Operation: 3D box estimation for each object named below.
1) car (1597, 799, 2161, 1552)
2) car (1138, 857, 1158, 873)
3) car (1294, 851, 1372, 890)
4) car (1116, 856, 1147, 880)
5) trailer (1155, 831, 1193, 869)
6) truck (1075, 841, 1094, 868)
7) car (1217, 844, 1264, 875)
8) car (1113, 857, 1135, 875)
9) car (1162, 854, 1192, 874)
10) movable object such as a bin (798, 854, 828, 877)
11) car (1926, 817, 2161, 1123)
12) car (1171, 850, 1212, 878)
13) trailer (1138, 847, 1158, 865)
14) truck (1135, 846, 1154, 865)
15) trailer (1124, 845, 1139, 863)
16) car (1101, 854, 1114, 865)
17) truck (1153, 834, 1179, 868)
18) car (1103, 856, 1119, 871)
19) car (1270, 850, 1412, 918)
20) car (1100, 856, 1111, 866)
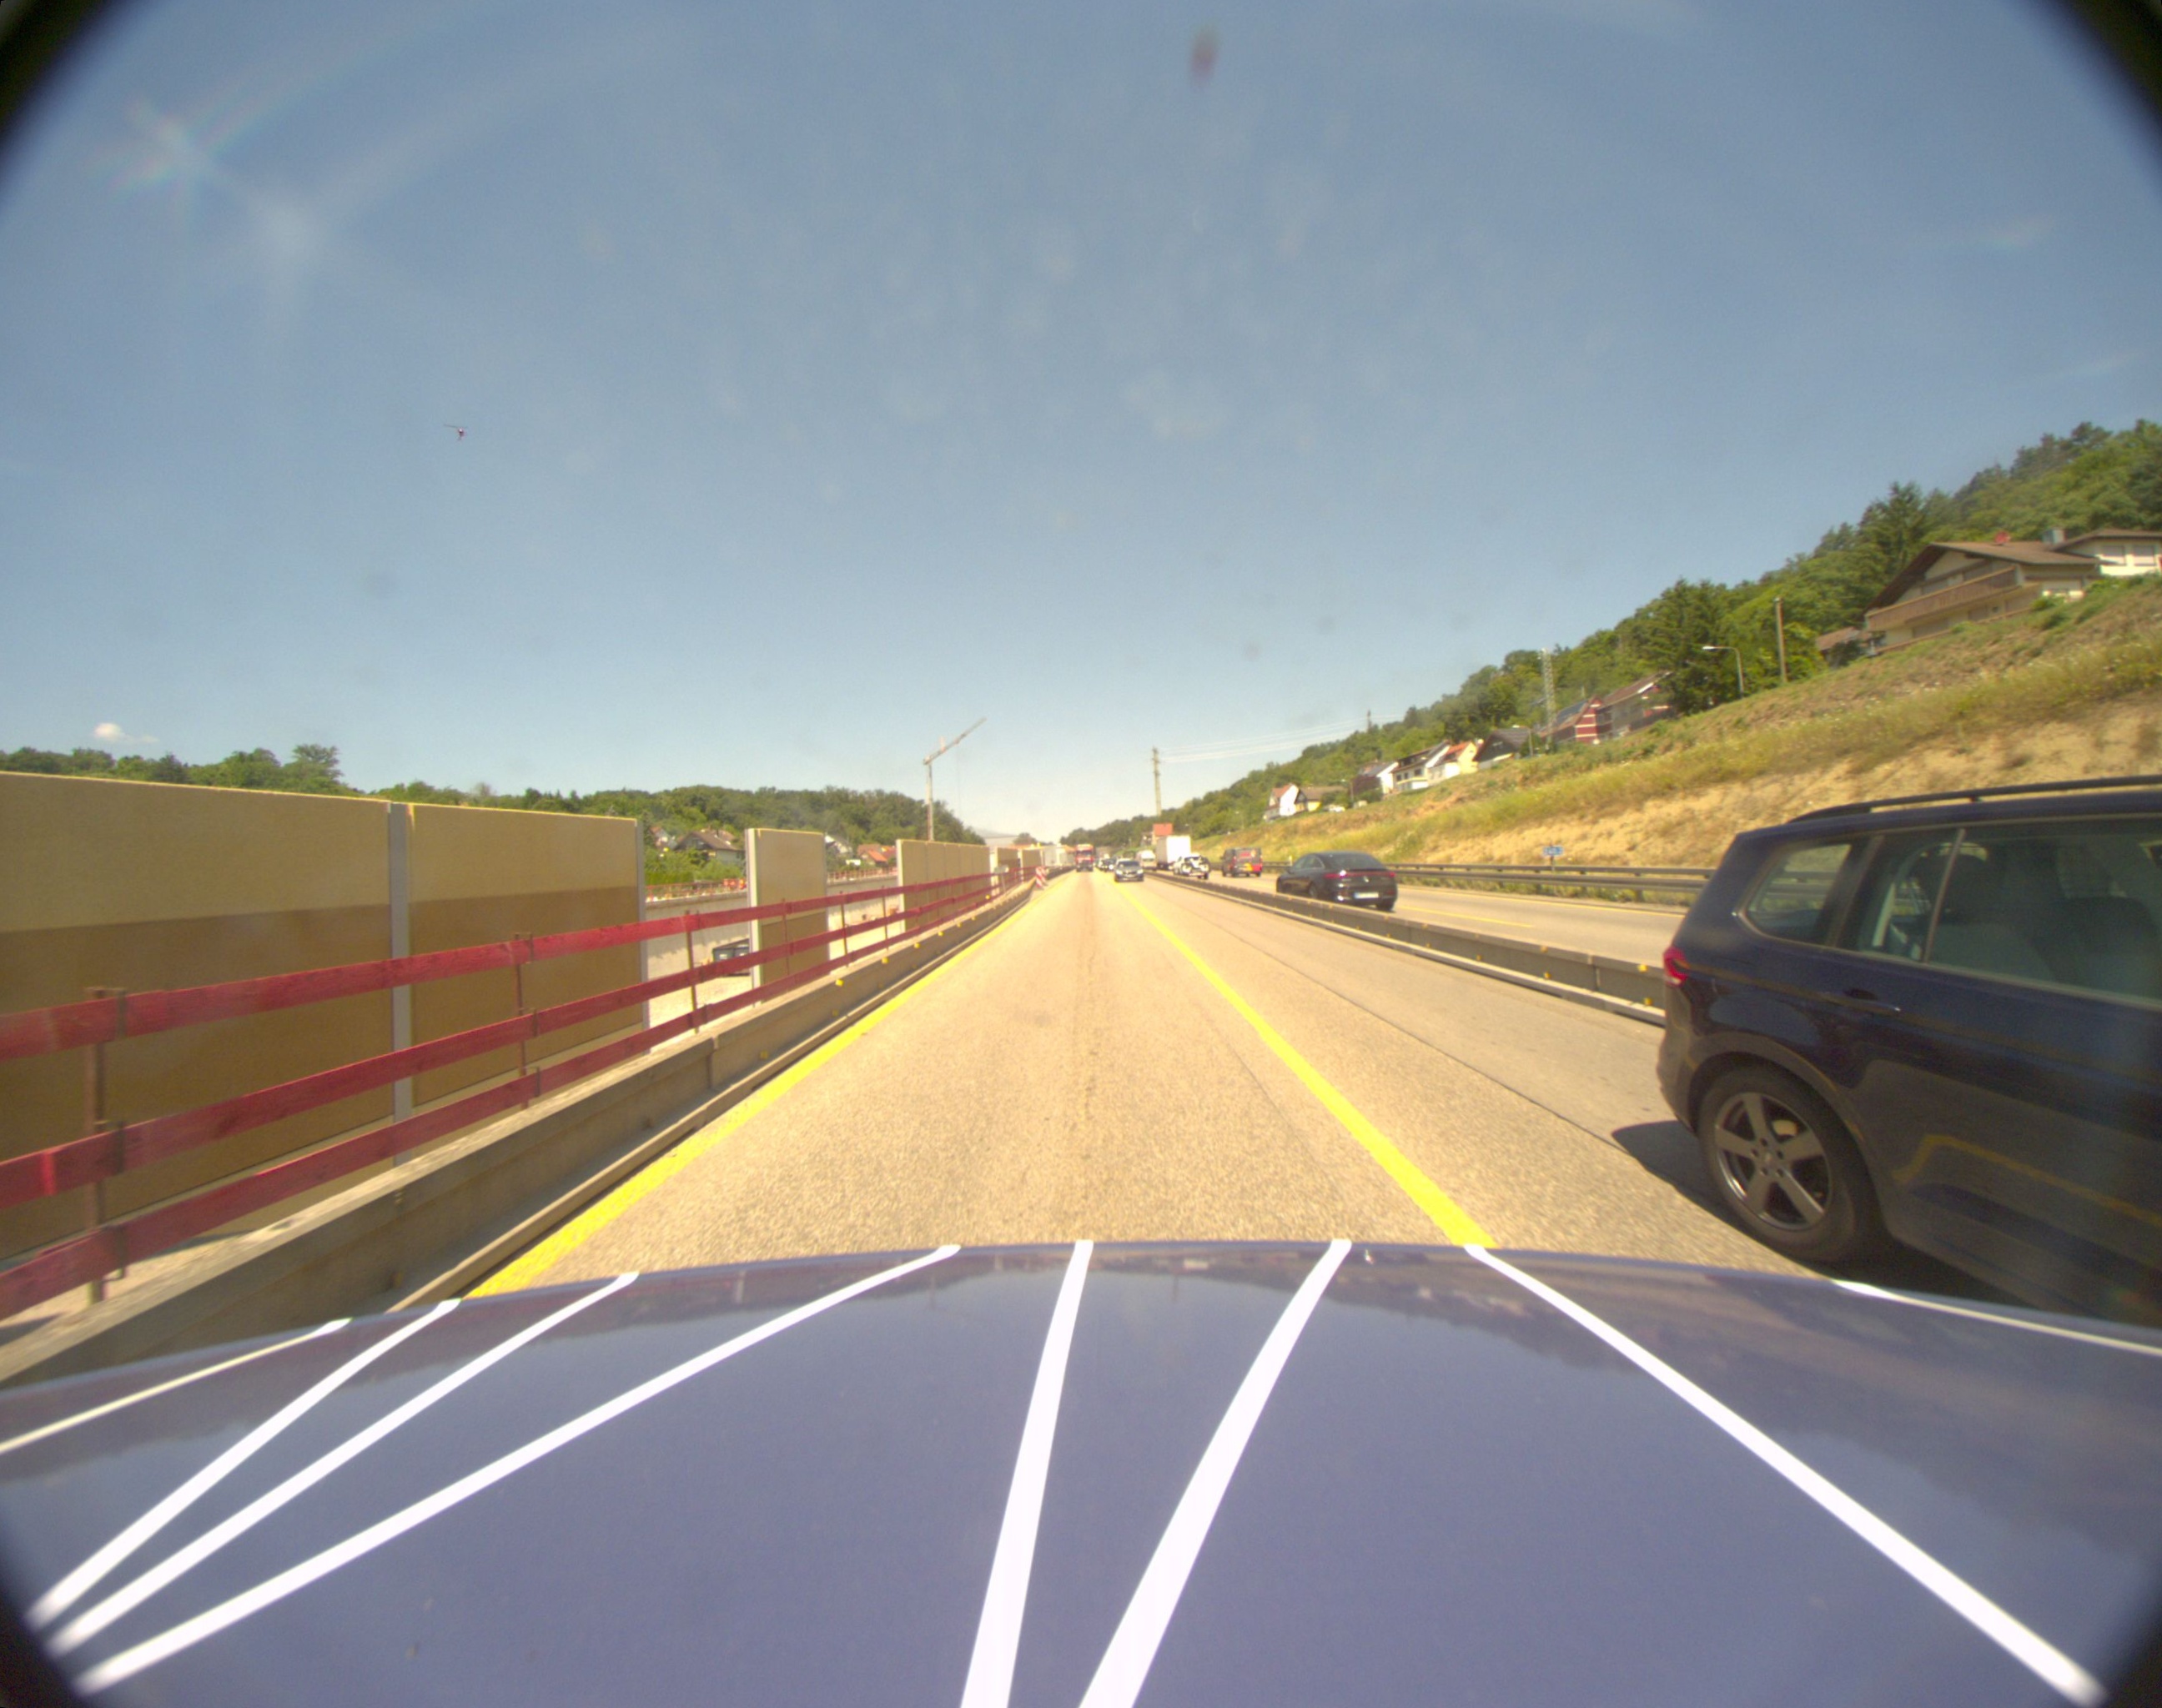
[{"bbox_3d":[3.303,0.688,1.215,1.780,1.708,4.653,-2,-1,1],"label":"car"},{"bbox_3d":[7.418,1.240,84.727,1.837,1.656,4.414,-2,0,0],"label":"car"},{"bbox_3d":[10.063,0.619,30.656,1.714,1.410,4.242,-2,0,1],"label":"car"},{"bbox_3d":[3.283,0.927,49.696,1.780,1.447,4.336,-2,-1,1],"label":"car"},{"bbox_3d":[10.979,-0.408,91.261,2.793,4.157,13.978,-2,0,0],"label":"trailer"},{"bbox_3d":[0.581,0.100,113.569,2.605,3.704,10.537,-2,-1,1],"label":"truck"},{"bbox_3d":[10.562,0.356,50.775,2.043,1.915,5.121,-1,0,0],"label":"car"},{"bbox_3d":[3.754,1.032,66.943,1.780,1.447,4.336,-2,-1,1],"label":"car"},{"bbox_3d":[7.084,0.726,56.282,1.714,1.410,4.242,-2,0,1],"label":"car"},{"bbox_3d":[-37.104,1.550,105.340,2.202,3.065,4.918,-2,0,1],"label":"movable object such as a bin"},{"bbox_3d":[6.780,0.606,2.913,1.849,1.656,4.688,-2,0,1],"label":"car"},{"bbox_3d":[7.005,0.619,48.645,1.844,1.644,5.371,-1,0,0],"label":"car"},{"bbox_3d":[11.206,0.352,127.656,2.619,2.983,6.370,-2,0,1],"label":"trailer"},{"bbox_3d":[11.257,0.313,135.414,2.733,3.124,8.959,-2,0,1],"label":"truck"},{"bbox_3d":[11.982,0.081,180.454,2.920,3.915,10.527,-2,0,0],"label":"trailer"},{"bbox_3d":[3.892,0.869,111.298,1.780,1.485,4.336,-2,-1,1],"label":"car"},{"bbox_3d":[11.005,-0.402,98.502,2.752,4.157,5.288,-2,0,1],"label":"truck"},{"bbox_3d":[3.553,1.131,91.575,1.780,1.727,4.336,-2,-1,1],"label":"car"},{"bbox_3d":[6.605,0.680,19.987,1.960,1.490,5.090,-2,0,0],"label":"car"},{"bbox_3d":[4.137,1.203,128.153,1.780,1.485,4.336,-2,-1,1],"label":"car"}]
